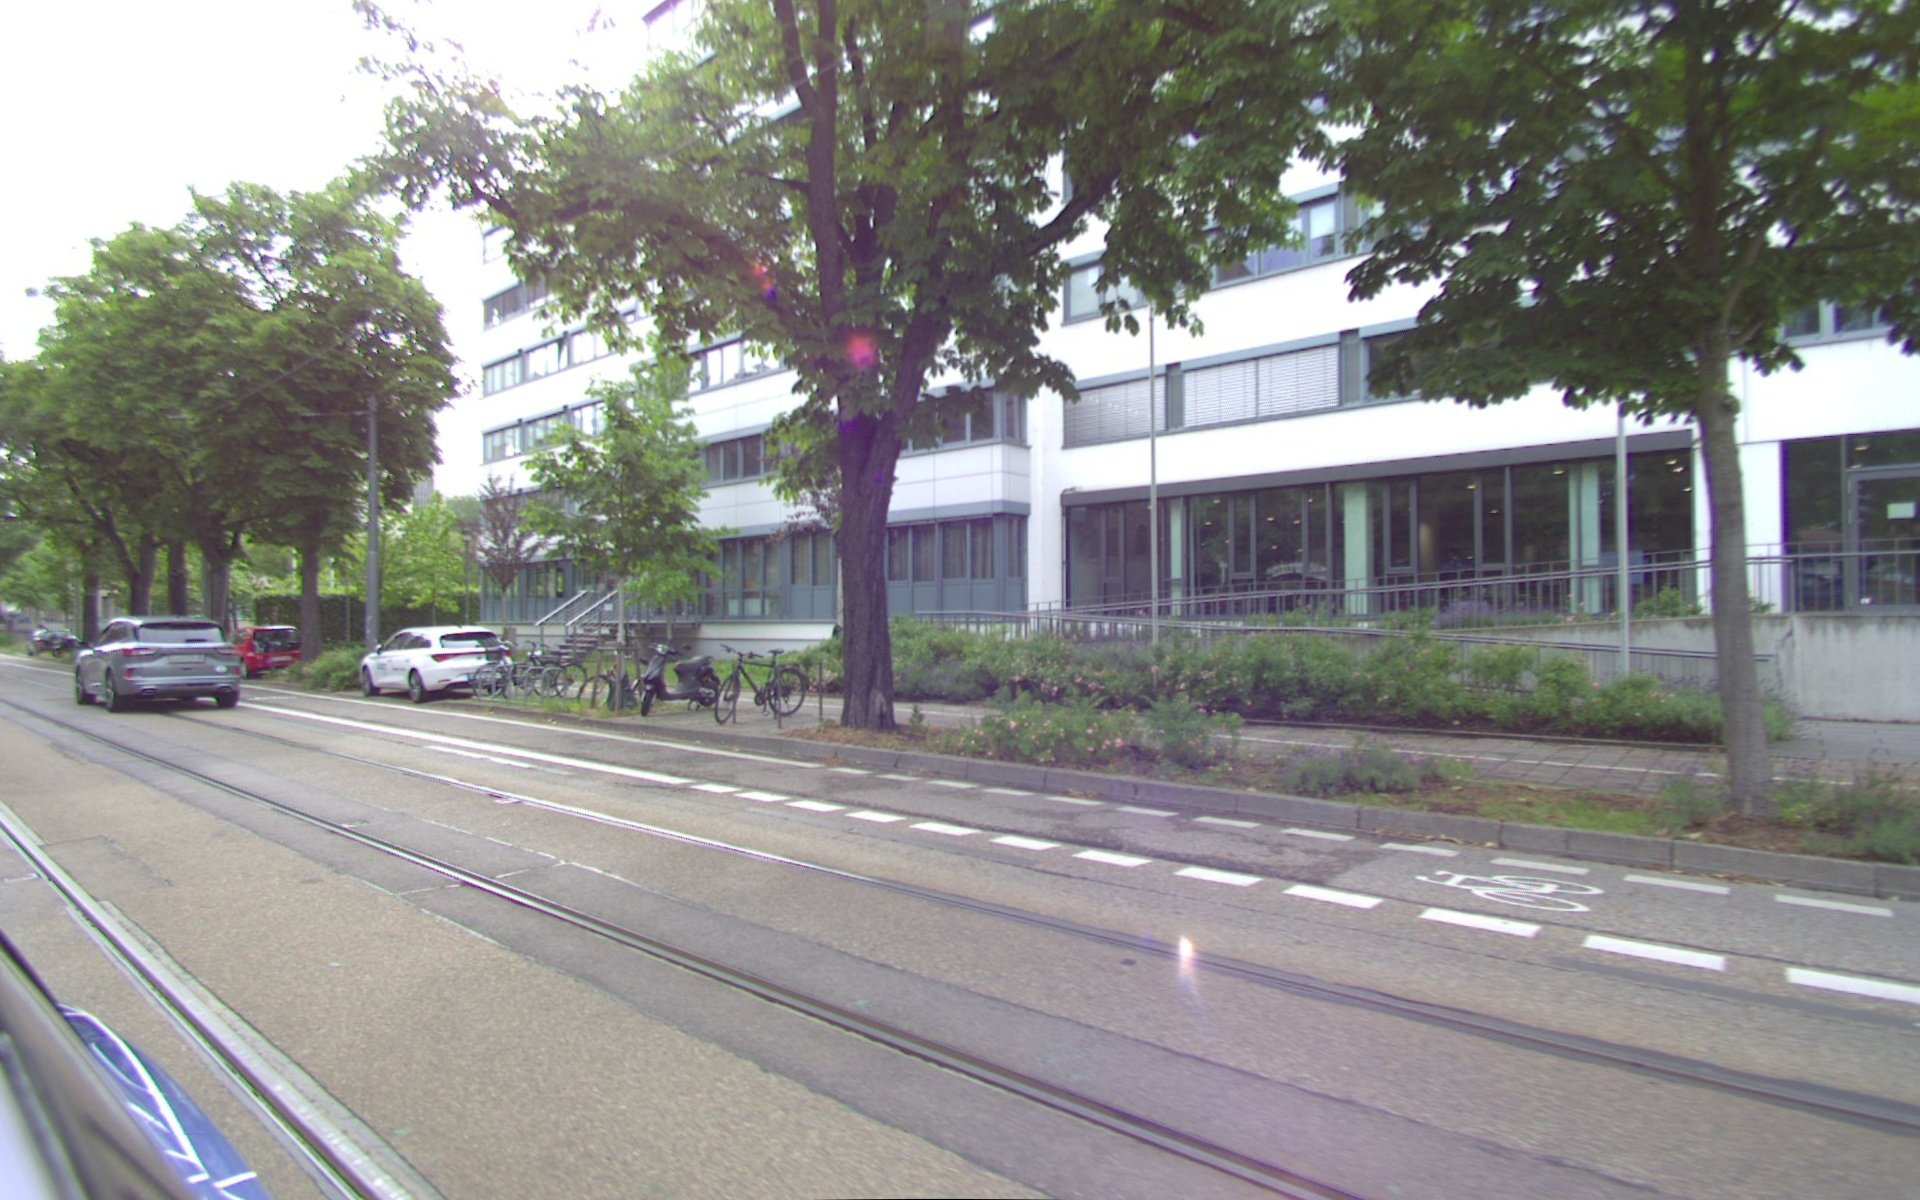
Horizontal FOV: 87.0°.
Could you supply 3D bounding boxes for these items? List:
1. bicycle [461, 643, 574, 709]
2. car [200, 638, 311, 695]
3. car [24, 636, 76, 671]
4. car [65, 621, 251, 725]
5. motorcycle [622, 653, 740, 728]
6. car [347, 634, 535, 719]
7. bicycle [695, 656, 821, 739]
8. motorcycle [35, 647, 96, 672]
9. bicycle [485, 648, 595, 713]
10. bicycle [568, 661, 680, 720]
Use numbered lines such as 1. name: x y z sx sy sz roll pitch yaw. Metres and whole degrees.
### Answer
1. bicycle: -8.427 1.423 19.329 0.633 1.195 1.843 -2 -3 45
2. car: -20.942 1.916 30.047 3.752 1.458 1.613 -1 1 38
3. car: -49.264 2.838 54.769 4.001 1.722 1.791 -1 0 44
4. car: -14.650 1.293 18.400 4.386 1.667 1.823 -2 -5 41
5. motorcycle: -4.424 1.407 16.138 0.731 1.058 1.773 -1 -1 34
6. car: -10.910 1.505 21.119 4.751 1.505 1.862 -2 -1 41
7. bicycle: -2.873 1.361 14.576 0.739 1.061 1.814 -2 -2 32
8. motorcycle: -43.025 2.843 48.684 2.100 1.111 0.776 -1 0 -8
9. bicycle: -7.668 1.452 18.564 0.631 1.108 1.790 -1 -2 34
10. bicycle: -5.683 1.508 17.209 0.631 0.906 1.790 -1 -2 34
